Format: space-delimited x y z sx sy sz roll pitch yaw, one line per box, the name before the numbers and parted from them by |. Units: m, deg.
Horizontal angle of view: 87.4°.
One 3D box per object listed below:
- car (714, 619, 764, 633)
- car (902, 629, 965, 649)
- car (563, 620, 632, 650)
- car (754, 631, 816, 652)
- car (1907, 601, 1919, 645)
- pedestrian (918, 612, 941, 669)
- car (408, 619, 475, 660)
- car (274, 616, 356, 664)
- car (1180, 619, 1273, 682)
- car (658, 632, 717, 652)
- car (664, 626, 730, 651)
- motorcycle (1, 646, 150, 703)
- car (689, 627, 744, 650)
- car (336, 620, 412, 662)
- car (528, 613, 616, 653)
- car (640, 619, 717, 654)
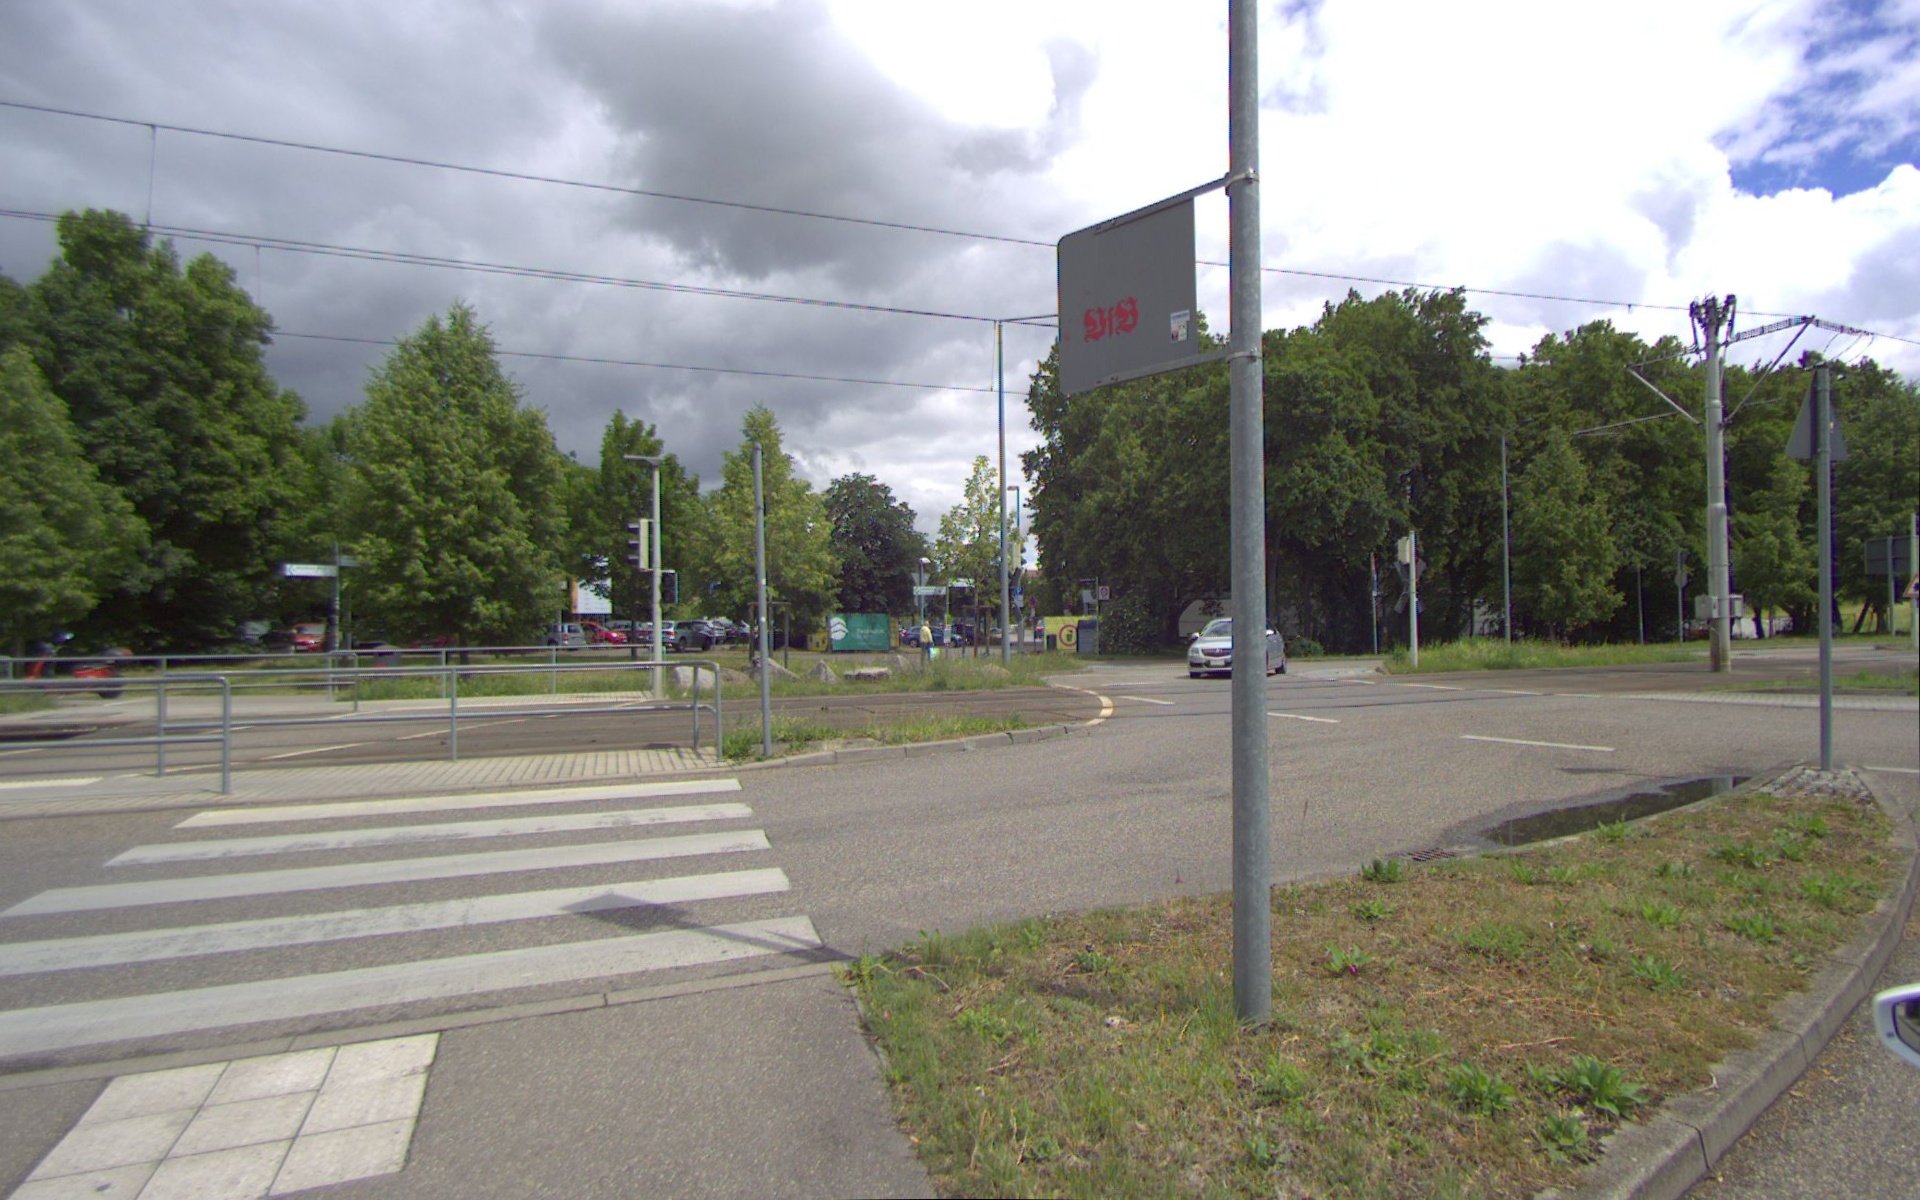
car | -16.941 1.998 77.044 3.381 1.034 1.633 -2 -1 15
car | -1.782 2.630 67.965 3.919 1.243 2.051 -2 -1 11
car | -20.767 2.011 57.549 3.409 1.587 1.493 -2 -1 12
car | -9.746 2.322 55.997 3.042 1.096 1.417 -2 -1 10
car | 37.757 0.834 37.223 4.348 1.618 1.993 0 -1 -17
pedestrian | -1.122 1.459 36.881 0.806 2.040 0.963 -1 0 -3
car | -25.180 1.860 48.903 1.966 1.859 3.990 -1 -1 -13
car | -29.679 1.795 46.345 1.894 2.040 3.990 -1 -1 -13
car | 6.496 1.177 24.231 1.846 1.368 3.831 -2 -2 19
car | -18.117 2.786 66.771 3.423 1.270 1.605 -2 -1 13
car | -18.171 2.652 69.461 3.919 1.592 1.919 -2 -1 13
motorcycle | -18.154 1.518 20.673 2.178 1.095 0.729 0 -1 -15
car | -17.405 2.752 71.807 3.513 1.525 1.515 -2 -1 13
car | -27.588 1.898 47.446 1.966 1.859 3.990 -1 -1 -13
car | -20.920 1.756 54.228 3.919 2.040 2.001 -2 -1 13
car | -14.606 1.889 52.331 1.960 1.660 4.141 -2 -1 15
